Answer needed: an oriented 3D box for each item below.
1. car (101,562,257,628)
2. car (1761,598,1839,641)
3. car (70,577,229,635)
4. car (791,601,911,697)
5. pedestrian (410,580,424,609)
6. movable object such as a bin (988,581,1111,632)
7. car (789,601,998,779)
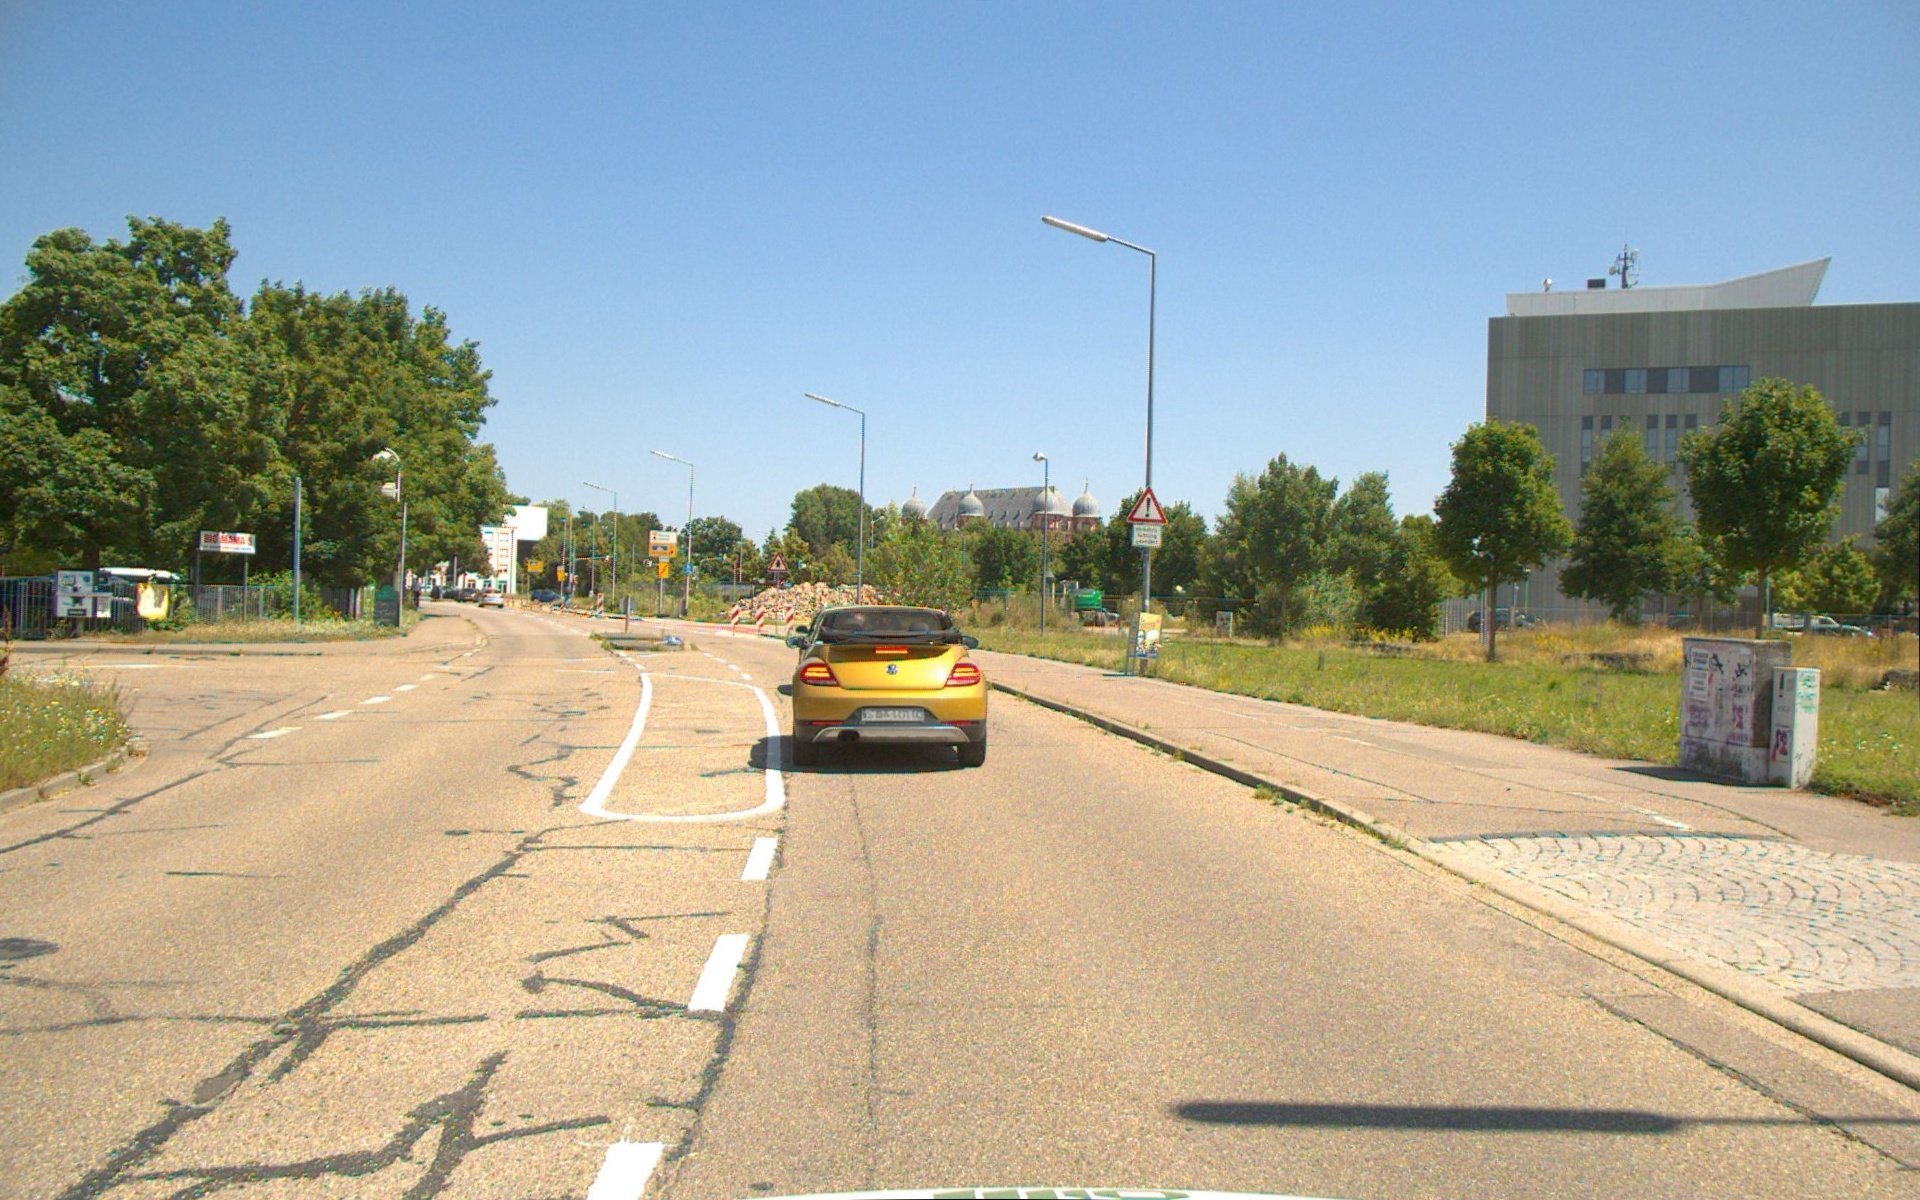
[{"bbox_3d":[-25.156,-0.148,53.410,4.232,2.011,1.776,1,0,-13],"label":"car"},{"bbox_3d":[47.551,1.069,93.665,3.764,2.334,1.742,1,0,23],"label":"car"},{"bbox_3d":[-23.122,0.167,47.311,3.801,1.552,1.801,1,0,-17],"label":"car"},{"bbox_3d":[-1.918,0.780,28.136,1.694,1.468,3.992,1,0,-9],"label":"car"},{"bbox_3d":[-33.483,-0.353,101.913,0.713,1.755,0.812,1,0,-24],"label":"pedestrian"},{"bbox_3d":[6.211,0.406,117.320,4.869,3.317,10.402,2,0,-21],"label":"movable object such as a bin"},{"bbox_3d":[-0.622,0.774,16.034,1.754,1.462,3.812,1,0,-2],"label":"car"}]
